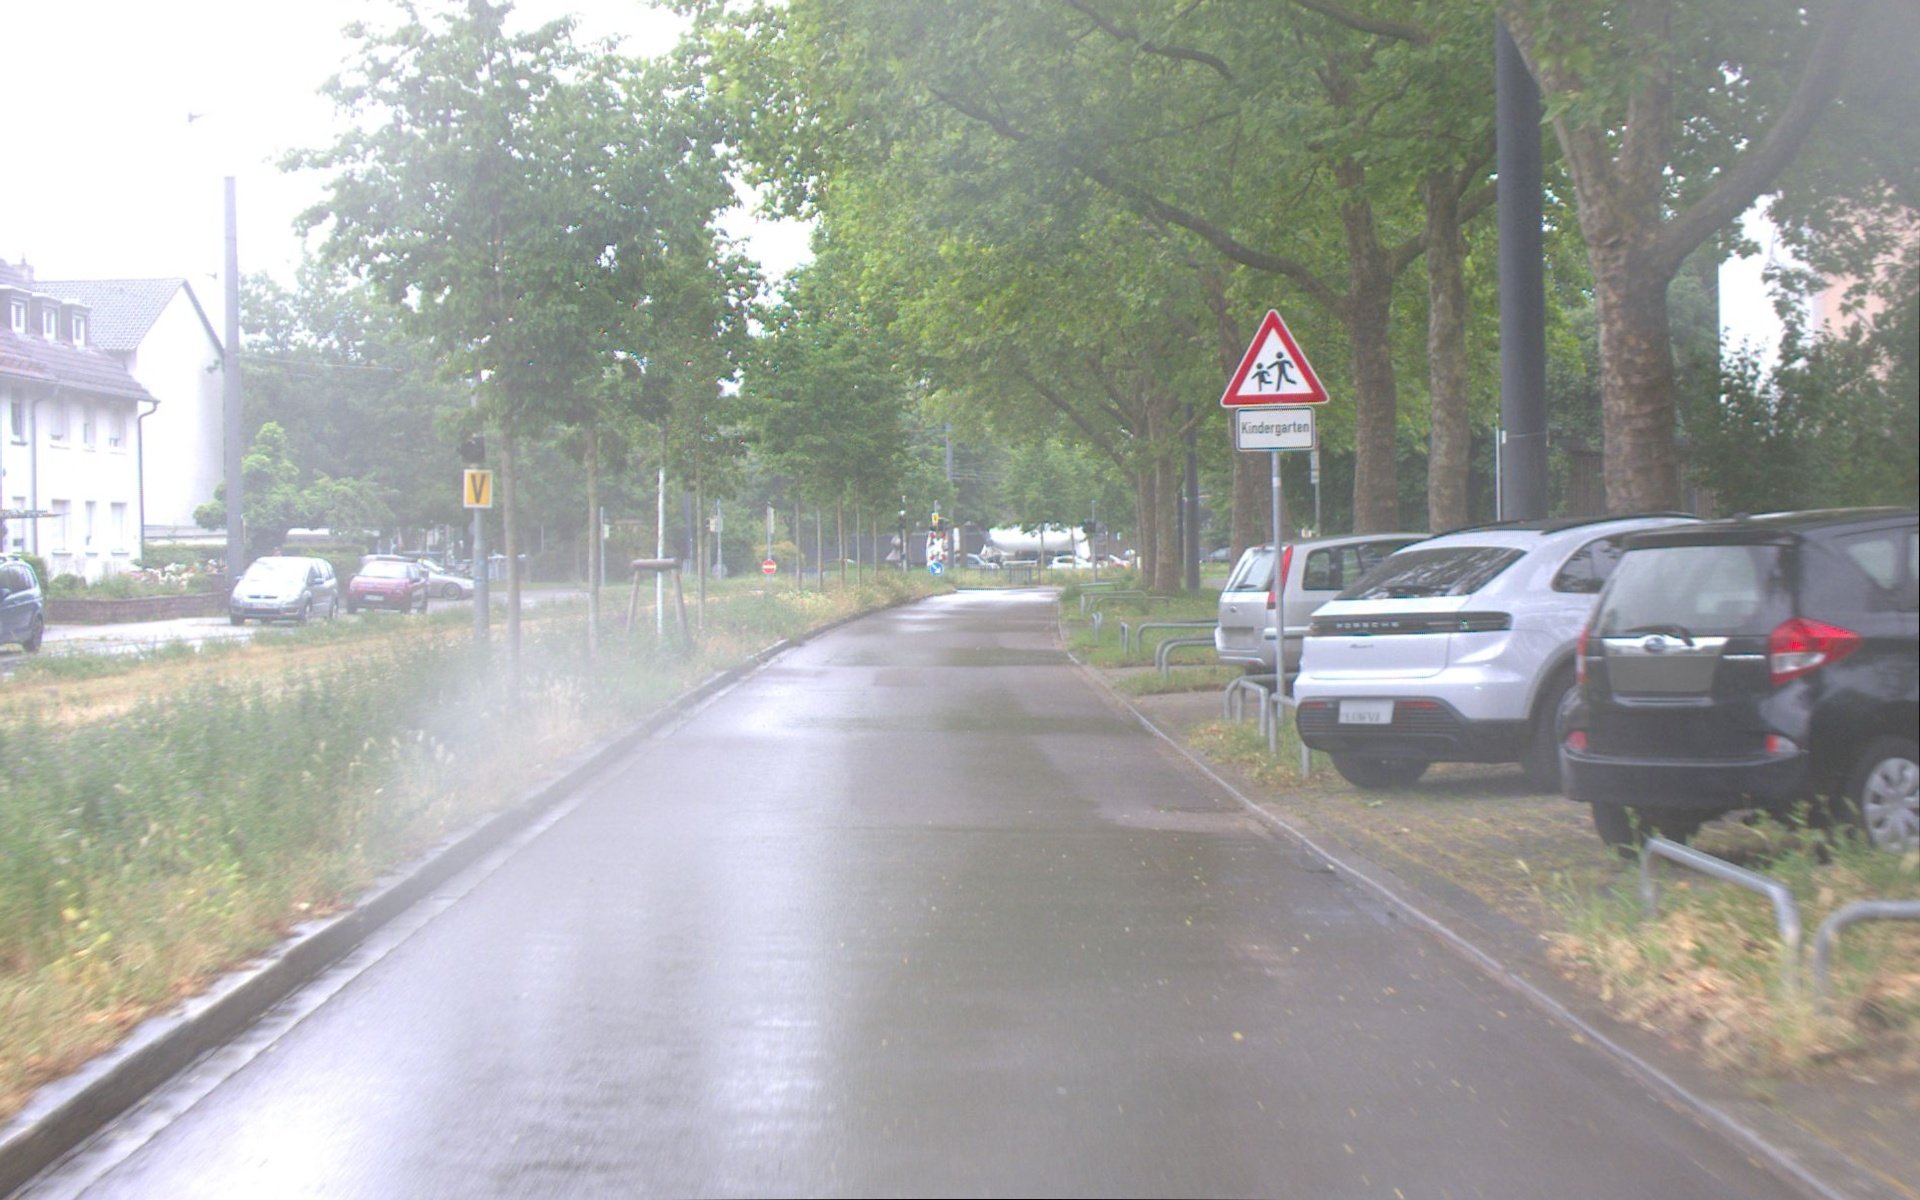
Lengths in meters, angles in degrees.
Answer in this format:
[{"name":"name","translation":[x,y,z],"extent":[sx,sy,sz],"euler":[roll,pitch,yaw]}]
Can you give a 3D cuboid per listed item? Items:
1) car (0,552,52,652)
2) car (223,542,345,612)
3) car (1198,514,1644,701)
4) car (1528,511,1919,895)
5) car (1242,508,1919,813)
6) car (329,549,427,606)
[{"name":"car","translation":[-17.056,0.020,58.512],"extent":[1.993,1.608,4.413],"euler":[1,1,1]},{"name":"car","translation":[-16.162,-0.572,82.412],"extent":[1.993,1.575,4.517],"euler":[1,1,1]},{"name":"car","translation":[4.402,0.047,32.959],"extent":[3.854,1.561,1.620],"euler":[-3,2,-14]},{"name":"car","translation":[4.588,0.370,15.919],"extent":[3.702,1.561,1.619],"euler":[-3,1,-33]},{"name":"car","translation":[4.270,0.302,21.930],"extent":[4.761,1.662,1.994],"euler":[-3,2,-37]},{"name":"car","translation":[-16.263,-0.653,96.279],"extent":[1.993,1.483,4.206],"euler":[1,1,1]}]
